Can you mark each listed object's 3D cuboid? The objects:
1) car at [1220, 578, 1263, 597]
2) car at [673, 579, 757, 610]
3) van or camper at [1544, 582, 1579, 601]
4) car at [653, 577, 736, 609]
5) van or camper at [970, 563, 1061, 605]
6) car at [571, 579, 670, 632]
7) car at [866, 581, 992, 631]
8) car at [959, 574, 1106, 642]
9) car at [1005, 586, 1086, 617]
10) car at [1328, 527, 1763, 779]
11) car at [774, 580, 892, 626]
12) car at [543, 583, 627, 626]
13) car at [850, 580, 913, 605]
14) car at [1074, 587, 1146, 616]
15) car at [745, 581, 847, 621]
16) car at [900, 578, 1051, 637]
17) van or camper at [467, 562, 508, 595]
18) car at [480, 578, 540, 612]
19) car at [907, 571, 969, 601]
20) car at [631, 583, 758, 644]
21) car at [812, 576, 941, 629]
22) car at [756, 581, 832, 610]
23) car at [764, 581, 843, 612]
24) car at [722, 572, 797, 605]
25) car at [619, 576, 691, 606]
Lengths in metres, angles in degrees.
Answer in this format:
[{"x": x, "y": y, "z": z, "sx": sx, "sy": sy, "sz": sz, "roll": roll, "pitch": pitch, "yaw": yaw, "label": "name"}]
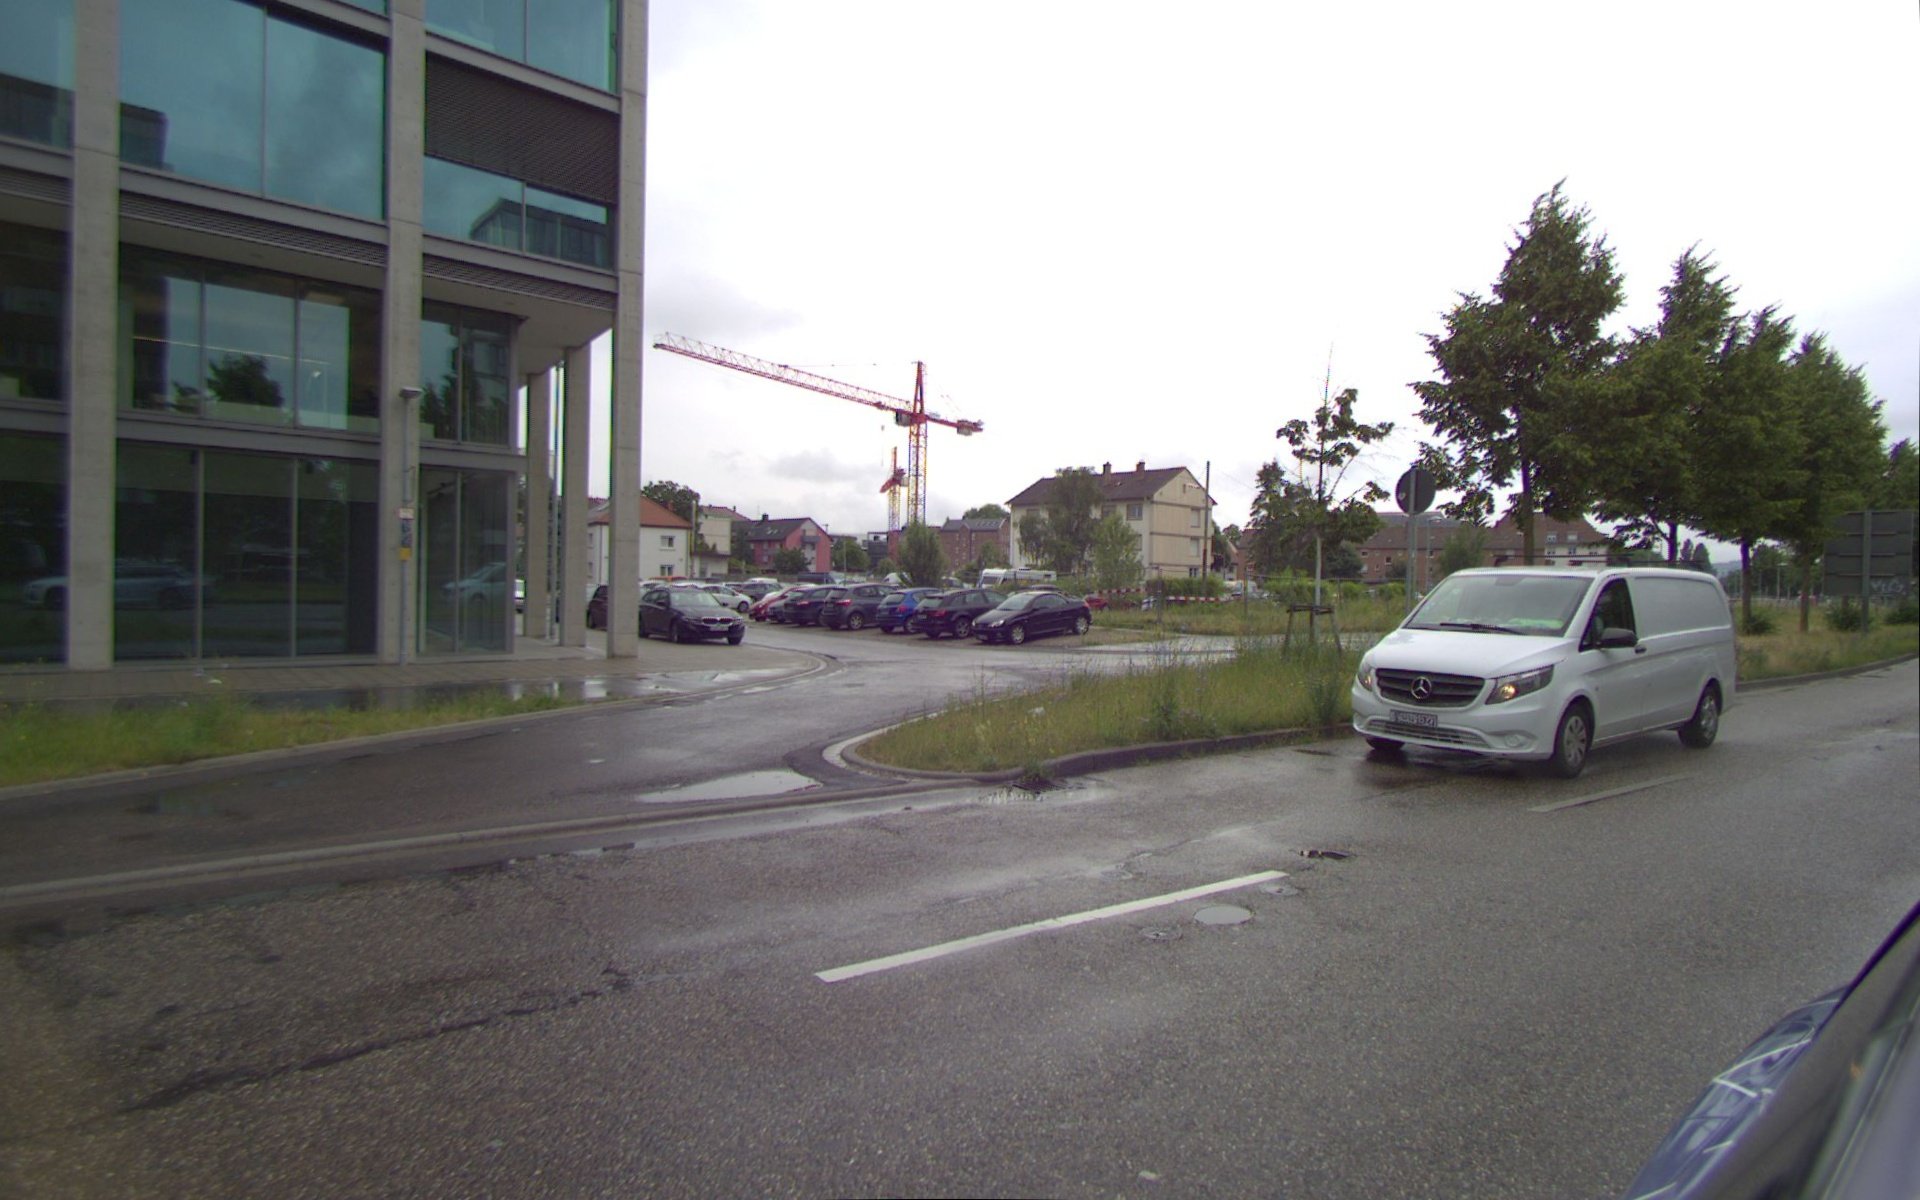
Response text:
[{"x": 30.052, "y": -1.356, "z": 108.039, "sx": 5.121, "sy": 1.918, "sz": 2.164, "roll": 0, "pitch": 1, "yaw": -44, "label": "car"}, {"x": -13.008, "y": -0.326, "z": 53.860, "sx": 3.965, "sy": 1.369, "sz": 1.699, "roll": -5, "pitch": 4, "yaw": -42, "label": "car"}, {"x": 75.711, "y": -1.089, "z": 127.352, "sx": 6.045, "sy": 2.337, "sz": 2.205, "roll": 0, "pitch": -1, "yaw": -43, "label": "van or camper"}, {"x": -14.523, "y": -0.413, "z": 55.472, "sx": 3.966, "sy": 1.514, "sz": 1.857, "roll": -5, "pitch": 4, "yaw": -43, "label": "car"}, {"x": 4.227, "y": -1.164, "z": 75.921, "sx": 6.657, "sy": 3.031, "sz": 2.912, "roll": 0, "pitch": 1, "yaw": -41, "label": "van or camper"}, {"x": -10.871, "y": 0.160, "z": 32.270, "sx": 1.826, "sy": 1.507, "sz": 3.999, "roll": 3, "pitch": -1, "yaw": -36, "label": "car"}, {"x": -1.037, "y": 0.164, "z": 34.580, "sx": 3.925, "sy": 1.472, "sz": 1.861, "roll": -3, "pitch": 3, "yaw": -35, "label": "car"}, {"x": 2.143, "y": 0.191, "z": 29.694, "sx": 3.925, "sy": 1.599, "sz": 1.862, "roll": -5, "pitch": 3, "yaw": -33, "label": "car"}, {"x": 4.656, "y": 0.063, "z": 54.930, "sx": 4.152, "sy": 1.621, "sz": 1.861, "roll": 0, "pitch": 1, "yaw": -35, "label": "car"}, {"x": 6.114, "y": 0.407, "z": 10.325, "sx": 4.996, "sy": 2.004, "sz": 1.974, "roll": 0, "pitch": 1, "yaw": -36, "label": "car"}, {"x": -4.878, "y": 0.081, "z": 39.044, "sx": 4.152, "sy": 1.492, "sz": 1.792, "roll": -4, "pitch": 3, "yaw": -35, "label": "car"}, {"x": -13.411, "y": 0.132, "z": 36.057, "sx": 1.825, "sy": 1.390, "sz": 4.001, "roll": 2, "pitch": 0, "yaw": -35, "label": "car"}, {"x": -5.187, "y": -0.494, "z": 67.186, "sx": 3.960, "sy": 1.601, "sz": 1.700, "roll": 0, "pitch": 1, "yaw": -40, "label": "car"}, {"x": 8.725, "y": 0.072, "z": 58.782, "sx": 3.924, "sy": 1.621, "sz": 1.861, "roll": 0, "pitch": 1, "yaw": -35, "label": "car"}, {"x": -7.081, "y": 0.035, "z": 43.796, "sx": 3.924, "sy": 1.621, "sz": 1.861, "roll": 0, "pitch": 1, "yaw": -35, "label": "car"}, {"x": 0.529, "y": 0.174, "z": 31.847, "sx": 4.473, "sy": 1.472, "sz": 1.861, "roll": -5, "pitch": 4, "yaw": -35, "label": "car"}, {"x": -39.732, "y": -1.797, "z": 85.077, "sx": 2.054, "sy": 2.617, "sz": 5.629, "roll": 0, "pitch": 0, "yaw": -37, "label": "van or camper"}, {"x": -21.079, "y": -0.261, "z": 47.365, "sx": 1.825, "sy": 1.456, "sz": 4.001, "roll": 2, "pitch": 0, "yaw": -35, "label": "car"}, {"x": -1.514, "y": -0.972, "z": 70.604, "sx": 4.090, "sy": 2.030, "sz": 1.700, "roll": 0, "pitch": 1, "yaw": -40, "label": "car"}, {"x": -7.267, "y": 0.320, "z": 27.429, "sx": 1.943, "sy": 1.456, "sz": 4.233, "roll": 3, "pitch": 0, "yaw": -35, "label": "car"}, {"x": -3.033, "y": 0.043, "z": 37.121, "sx": 4.334, "sy": 1.621, "sz": 1.861, "roll": -4, "pitch": 3, "yaw": -35, "label": "car"}, {"x": -9.490, "y": -0.283, "z": 57.904, "sx": 3.959, "sy": 1.369, "sz": 1.701, "roll": -4, "pitch": 3, "yaw": -37, "label": "car"}, {"x": -8.593, "y": -0.221, "z": 55.717, "sx": 3.962, "sy": 1.463, "sz": 1.700, "roll": -5, "pitch": 4, "yaw": -40, "label": "car"}, {"x": -11.825, "y": -0.698, "z": 59.840, "sx": 3.955, "sy": 1.732, "sz": 1.703, "roll": -4, "pitch": 3, "yaw": -33, "label": "car"}, {"x": -18.663, "y": -0.584, "z": 62.032, "sx": 3.730, "sy": 1.621, "sz": 1.857, "roll": -5, "pitch": 4, "yaw": -43, "label": "car"}]
